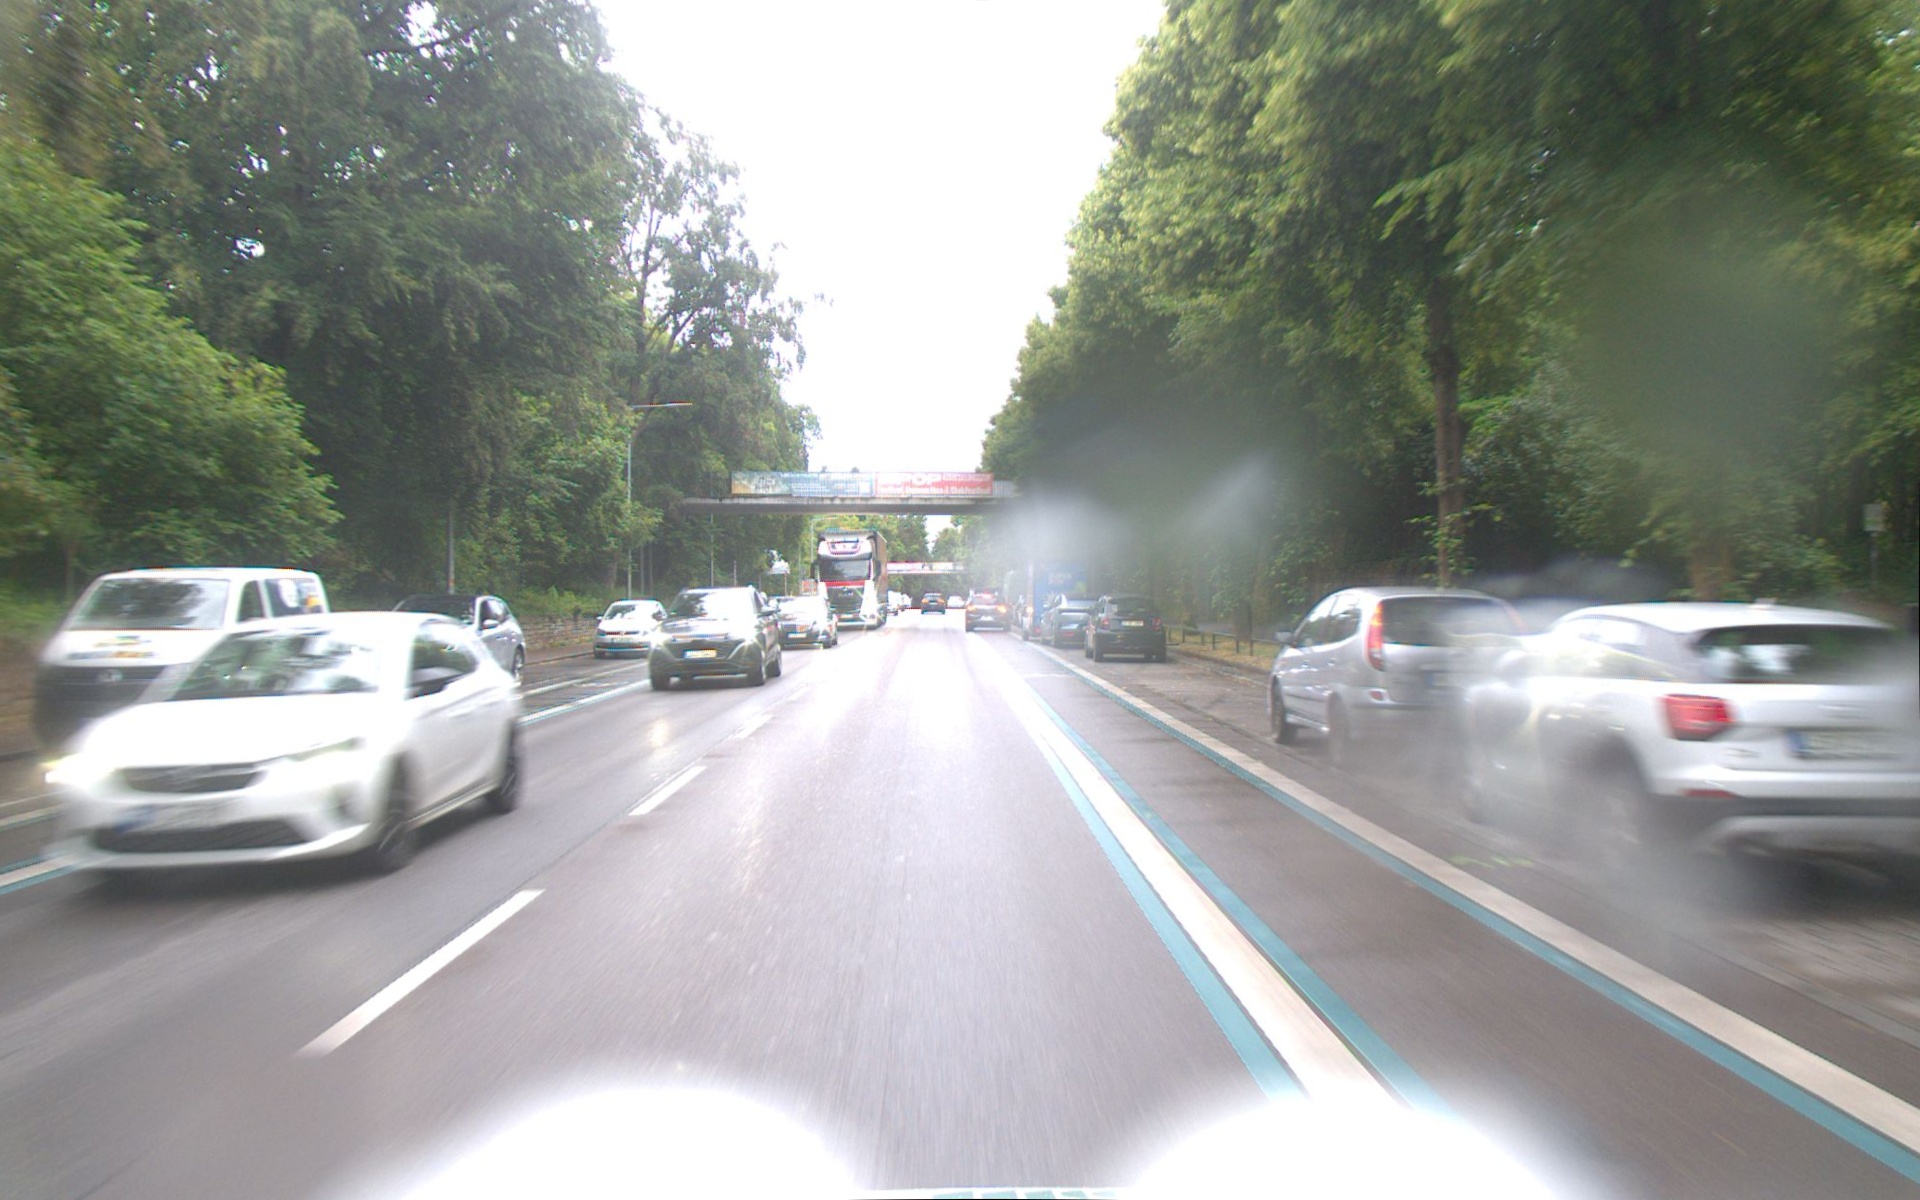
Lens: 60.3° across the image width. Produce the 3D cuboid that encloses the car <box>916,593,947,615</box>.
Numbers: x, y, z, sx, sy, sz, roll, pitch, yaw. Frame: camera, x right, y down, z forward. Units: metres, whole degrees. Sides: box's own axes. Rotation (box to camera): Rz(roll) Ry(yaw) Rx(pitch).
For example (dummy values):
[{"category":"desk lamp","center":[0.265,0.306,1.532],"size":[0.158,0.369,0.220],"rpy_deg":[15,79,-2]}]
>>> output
[{"category":"car","center":[-2.104,0.286,120.413],"size":[2.097,1.518,4.496],"rpy_deg":[0,0,-3]}]

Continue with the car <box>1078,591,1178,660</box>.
[{"category":"car","center":[3.923,0.555,39.226],"size":[1.788,1.529,4.570],"rpy_deg":[-1,0,-1]}]

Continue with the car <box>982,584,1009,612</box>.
[{"category":"car","center":[2.678,-0.190,124.626],"size":[1.887,2.057,4.663],"rpy_deg":[1,0,-1]}]

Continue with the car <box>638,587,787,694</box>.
[{"category":"car","center":[-4.155,0.622,28.426],"size":[1.921,1.645,4.465],"rpy_deg":[-1,0,-1]}]

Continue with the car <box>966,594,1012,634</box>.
[{"category":"car","center":[1.132,0.536,66.247],"size":[1.781,1.534,4.139],"rpy_deg":[0,0,0]}]

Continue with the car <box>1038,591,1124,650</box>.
[{"category":"car","center":[3.467,0.562,48.168],"size":[1.861,1.574,4.752],"rpy_deg":[1,1,-3]}]

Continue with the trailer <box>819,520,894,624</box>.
[{"category":"trailer","center":[-4.696,-1.255,77.534],"size":[2.633,4.333,12.767],"rpy_deg":[-3,0,-1]}]

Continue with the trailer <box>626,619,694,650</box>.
[{"category":"trailer","center":[-8.878,1.005,49.143],"size":[1.512,0.833,3.303],"rpy_deg":[-1,0,-2]}]

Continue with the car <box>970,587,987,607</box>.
[{"category":"car","center":[2.030,-0.370,184.611],"size":[1.850,2.164,4.045],"rpy_deg":[-1,0,0]}]

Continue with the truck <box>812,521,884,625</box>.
[{"category":"truck","center":[-4.686,-1.103,69.984],"size":[2.466,4.117,4.916],"rpy_deg":[-3,0,0]}]

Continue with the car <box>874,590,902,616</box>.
[{"category":"car","center":[-4.952,0.208,114.577],"size":[1.797,1.695,4.179],"rpy_deg":[-3,0,-1]}]

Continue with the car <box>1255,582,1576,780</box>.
[{"category":"car","center":[4.190,0.656,16.042],"size":[1.718,1.624,4.739],"rpy_deg":[0,0,-1]}]

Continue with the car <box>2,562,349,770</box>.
[{"category":"car","center":[-8.655,0.622,18.818],"size":[1.935,2.040,5.013],"rpy_deg":[0,1,-5]}]

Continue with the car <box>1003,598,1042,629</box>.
[{"category":"car","center":[2.932,0.620,77.970],"size":[1.651,1.441,4.099],"rpy_deg":[0,0,-1]}]

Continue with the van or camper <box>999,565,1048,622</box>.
[{"category":"van or camper","center":[3.221,-0.324,84.942],"size":[2.001,2.777,6.898],"rpy_deg":[1,0,-2]}]

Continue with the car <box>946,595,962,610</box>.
[{"category":"car","center":[-0.668,0.249,185.135],"size":[1.696,1.611,4.035],"rpy_deg":[-1,0,-1]}]

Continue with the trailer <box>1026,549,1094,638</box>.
[{"category":"trailer","center":[3.229,-0.215,54.113],"size":[1.913,2.807,4.006],"rpy_deg":[0,0,-1]}]

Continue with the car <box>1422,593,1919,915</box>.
[{"category":"car","center":[4.331,0.739,10.242],"size":[1.663,1.540,4.469],"rpy_deg":[1,0,0]}]

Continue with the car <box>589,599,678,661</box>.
[{"category":"car","center":[-8.714,0.773,44.425],"size":[1.753,1.508,3.980],"rpy_deg":[-1,1,-3]}]

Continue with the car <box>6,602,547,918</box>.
[{"category":"car","center":[-3.961,0.809,10.403],"size":[1.740,1.491,4.062],"rpy_deg":[-3,0,-1]}]

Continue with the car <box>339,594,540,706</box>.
[{"category":"car","center":[-8.586,0.751,27.760],"size":[1.969,1.633,4.778],"rpy_deg":[-1,1,-2]}]

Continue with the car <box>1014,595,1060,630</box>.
[{"category":"car","center":[3.333,0.518,71.975],"size":[1.652,1.441,4.195],"rpy_deg":[0,0,-2]}]

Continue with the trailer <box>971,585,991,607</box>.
[{"category":"trailer","center":[2.115,-0.400,167.792],"size":[1.845,2.204,3.807],"rpy_deg":[-1,0,0]}]

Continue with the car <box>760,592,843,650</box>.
[{"category":"car","center":[-4.506,0.562,47.611],"size":[1.876,1.482,4.620],"rpy_deg":[-3,0,0]}]
